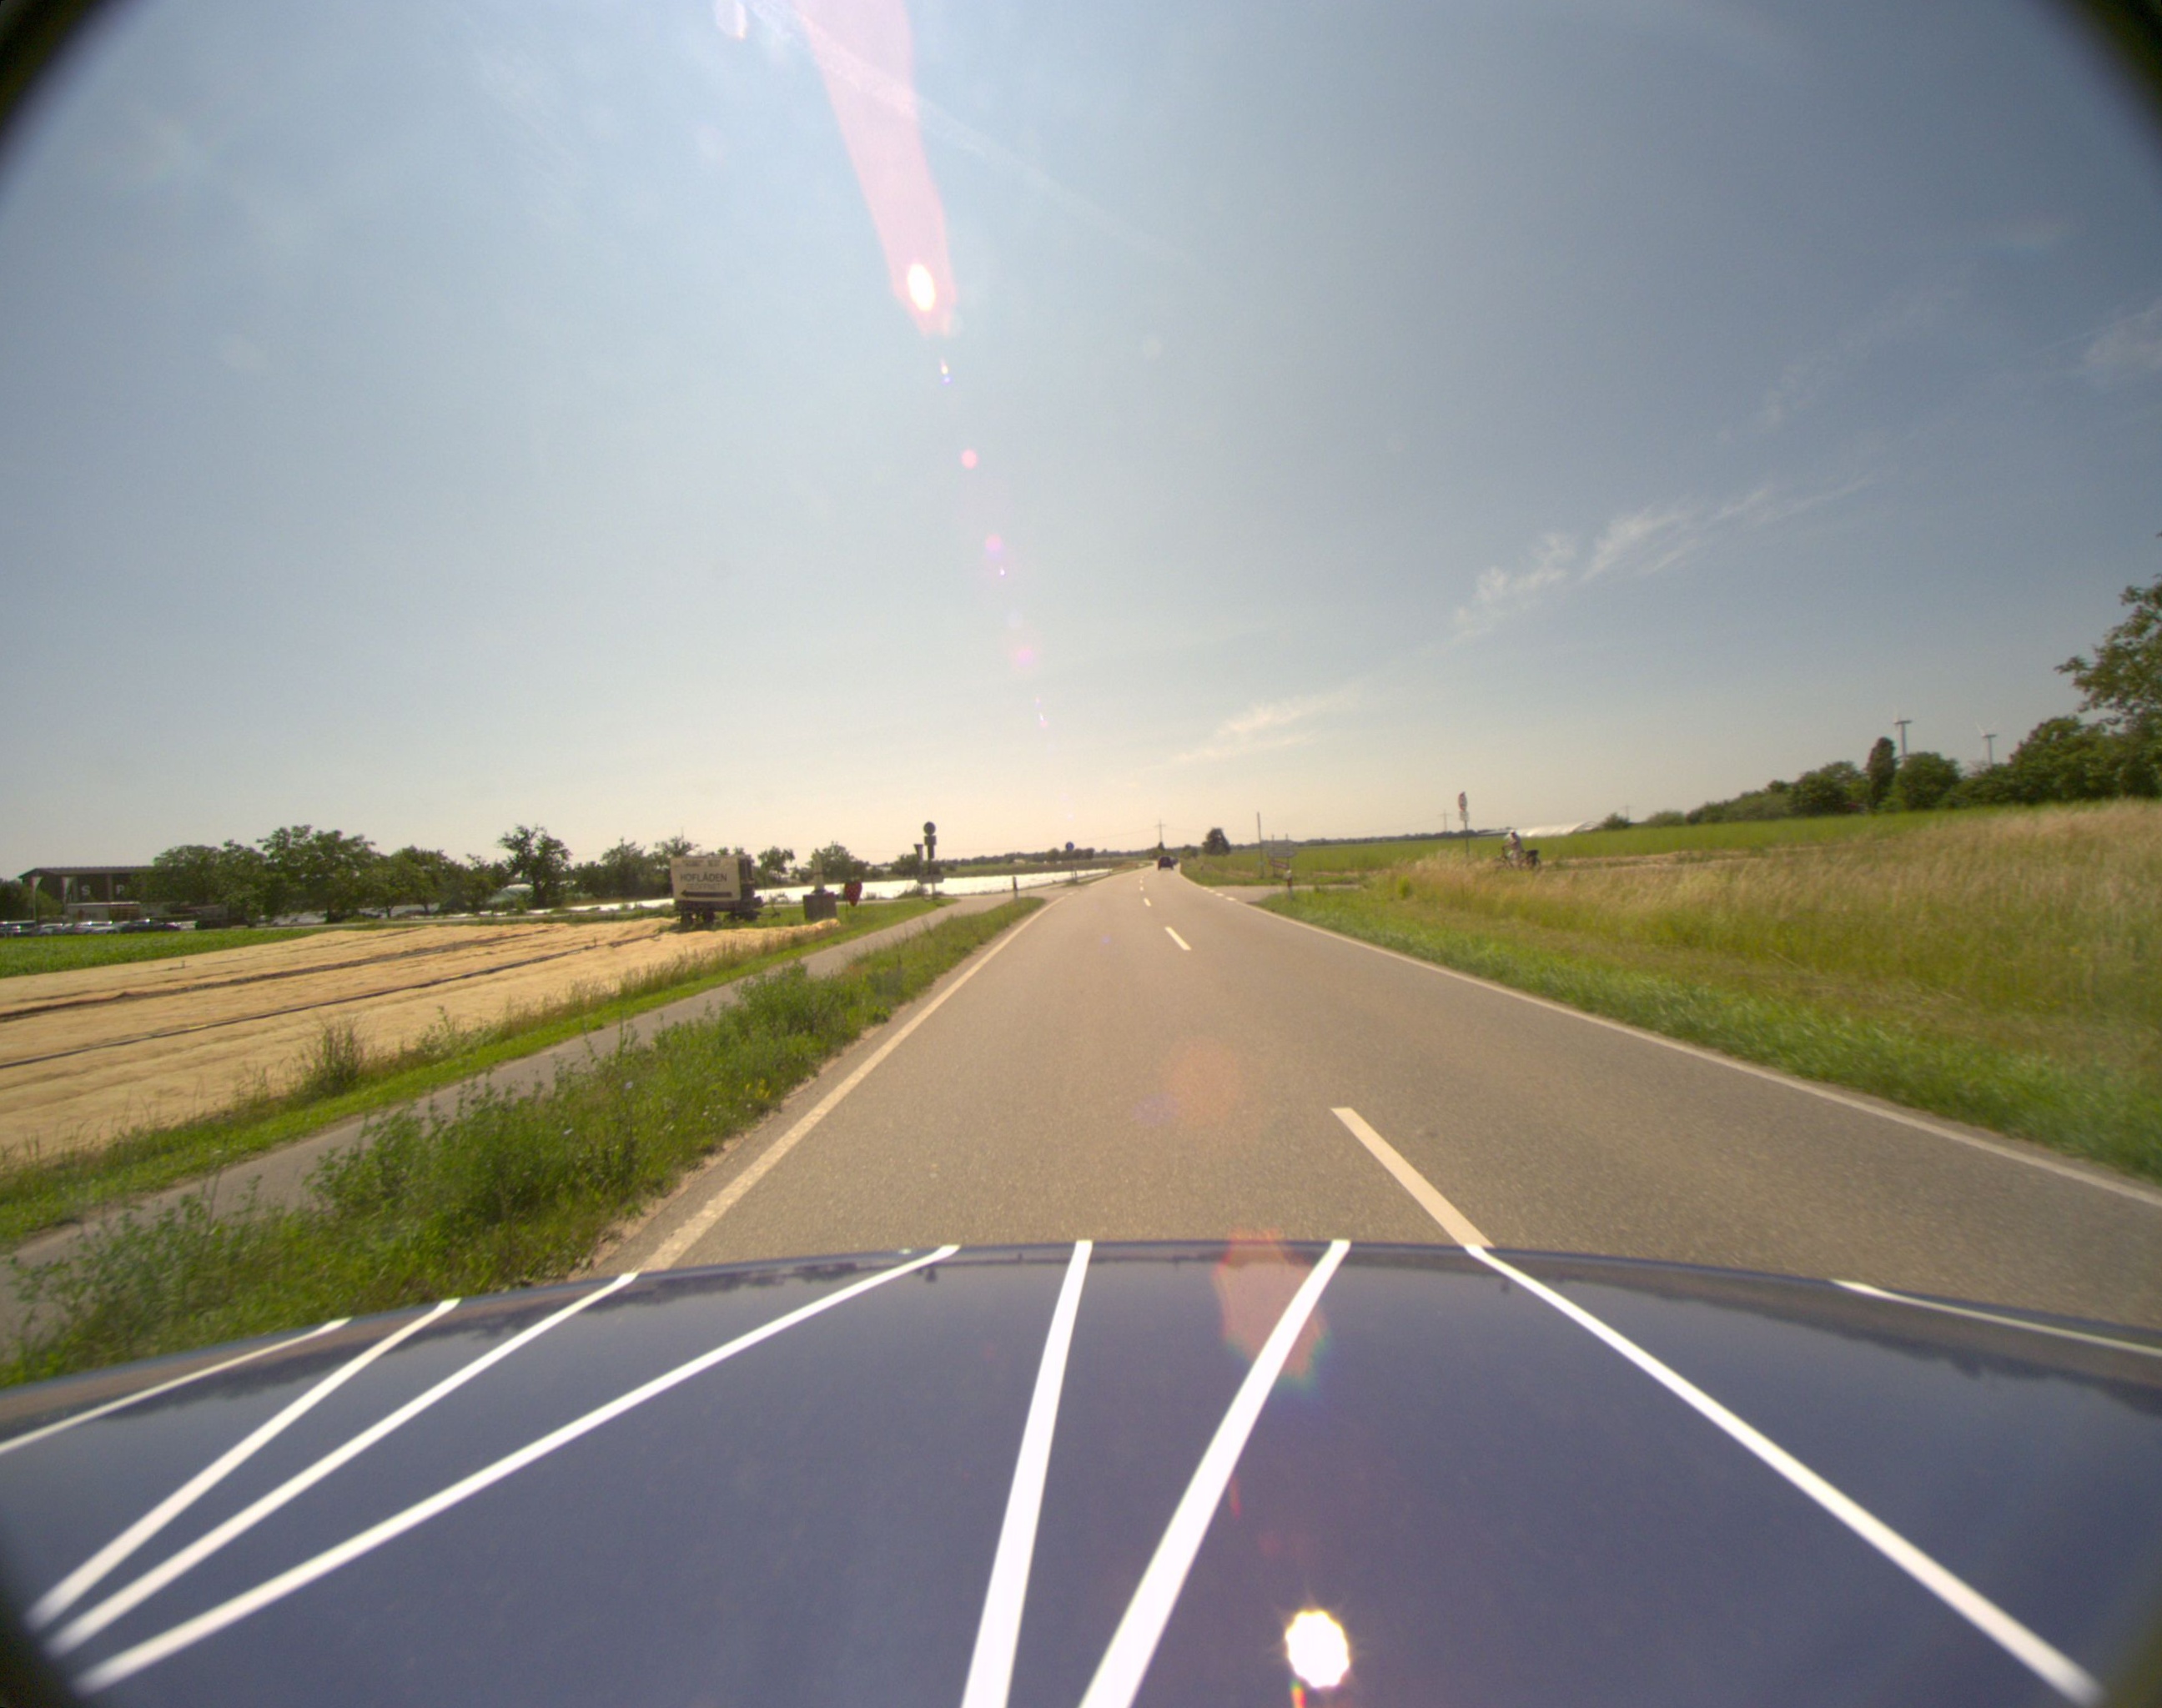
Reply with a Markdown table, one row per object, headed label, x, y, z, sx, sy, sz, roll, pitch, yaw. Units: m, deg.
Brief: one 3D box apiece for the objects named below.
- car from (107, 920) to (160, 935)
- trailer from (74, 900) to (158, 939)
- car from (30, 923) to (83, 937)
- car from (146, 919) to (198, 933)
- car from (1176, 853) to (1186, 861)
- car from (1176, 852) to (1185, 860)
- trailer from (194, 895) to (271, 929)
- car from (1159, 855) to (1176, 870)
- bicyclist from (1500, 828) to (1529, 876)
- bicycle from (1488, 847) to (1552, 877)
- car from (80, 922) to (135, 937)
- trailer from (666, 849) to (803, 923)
| label | x | y | z | sx | sy | sz | roll | pitch | yaw |
| --- | --- | --- | --- | --- | --- | --- | --- | --- | --- |
| car | -100.634 | 7.837 | 80.749 | 1.294 | 1.191 | 3.283 | -3 | 0 | 13 |
| trailer | -121.459 | 8.220 | 95.680 | 7.431 | 4.197 | 3.159 | -4 | 1 | 9 |
| car | -114.808 | 8.494 | 85.172 | 1.294 | 1.191 | 3.283 | -3 | 0 | 13 |
| car | -96.907 | 7.656 | 81.016 | 1.294 | 1.191 | 3.283 | -3 | 0 | 13 |
| car | 18.322 | 0.501 | 139.179 | 1.745 | 1.349 | 4.421 | -2 | 0 | 7 |
| car | 21.964 | 0.415 | 167.850 | 1.743 | 1.523 | 4.144 | -2 | 0 | 7 |
| trailer | -95.409 | 6.505 | 85.439 | 7.425 | 3.274 | 3.263 | -4 | 1 | 22 |
| car | 10.856 | 1.079 | 95.007 | 1.937 | 1.741 | 5.206 | -2 | 0 | 7 |
| bicyclist | 16.248 | -0.068 | 28.515 | 0.700 | 1.747 | 0.663 | -4 | 1 | 15 |
| bicycle | 16.431 | 0.295 | 28.479 | 1.921 | 0.986 | 0.683 | -4 | 1 | 15 |
| car | -103.495 | 7.971 | 80.799 | 1.294 | 1.191 | 3.283 | -3 | 0 | 13 |
| trailer | -15.235 | 1.389 | 33.441 | 5.285 | 2.936 | 2.002 | -3 | 2 | 17 |
